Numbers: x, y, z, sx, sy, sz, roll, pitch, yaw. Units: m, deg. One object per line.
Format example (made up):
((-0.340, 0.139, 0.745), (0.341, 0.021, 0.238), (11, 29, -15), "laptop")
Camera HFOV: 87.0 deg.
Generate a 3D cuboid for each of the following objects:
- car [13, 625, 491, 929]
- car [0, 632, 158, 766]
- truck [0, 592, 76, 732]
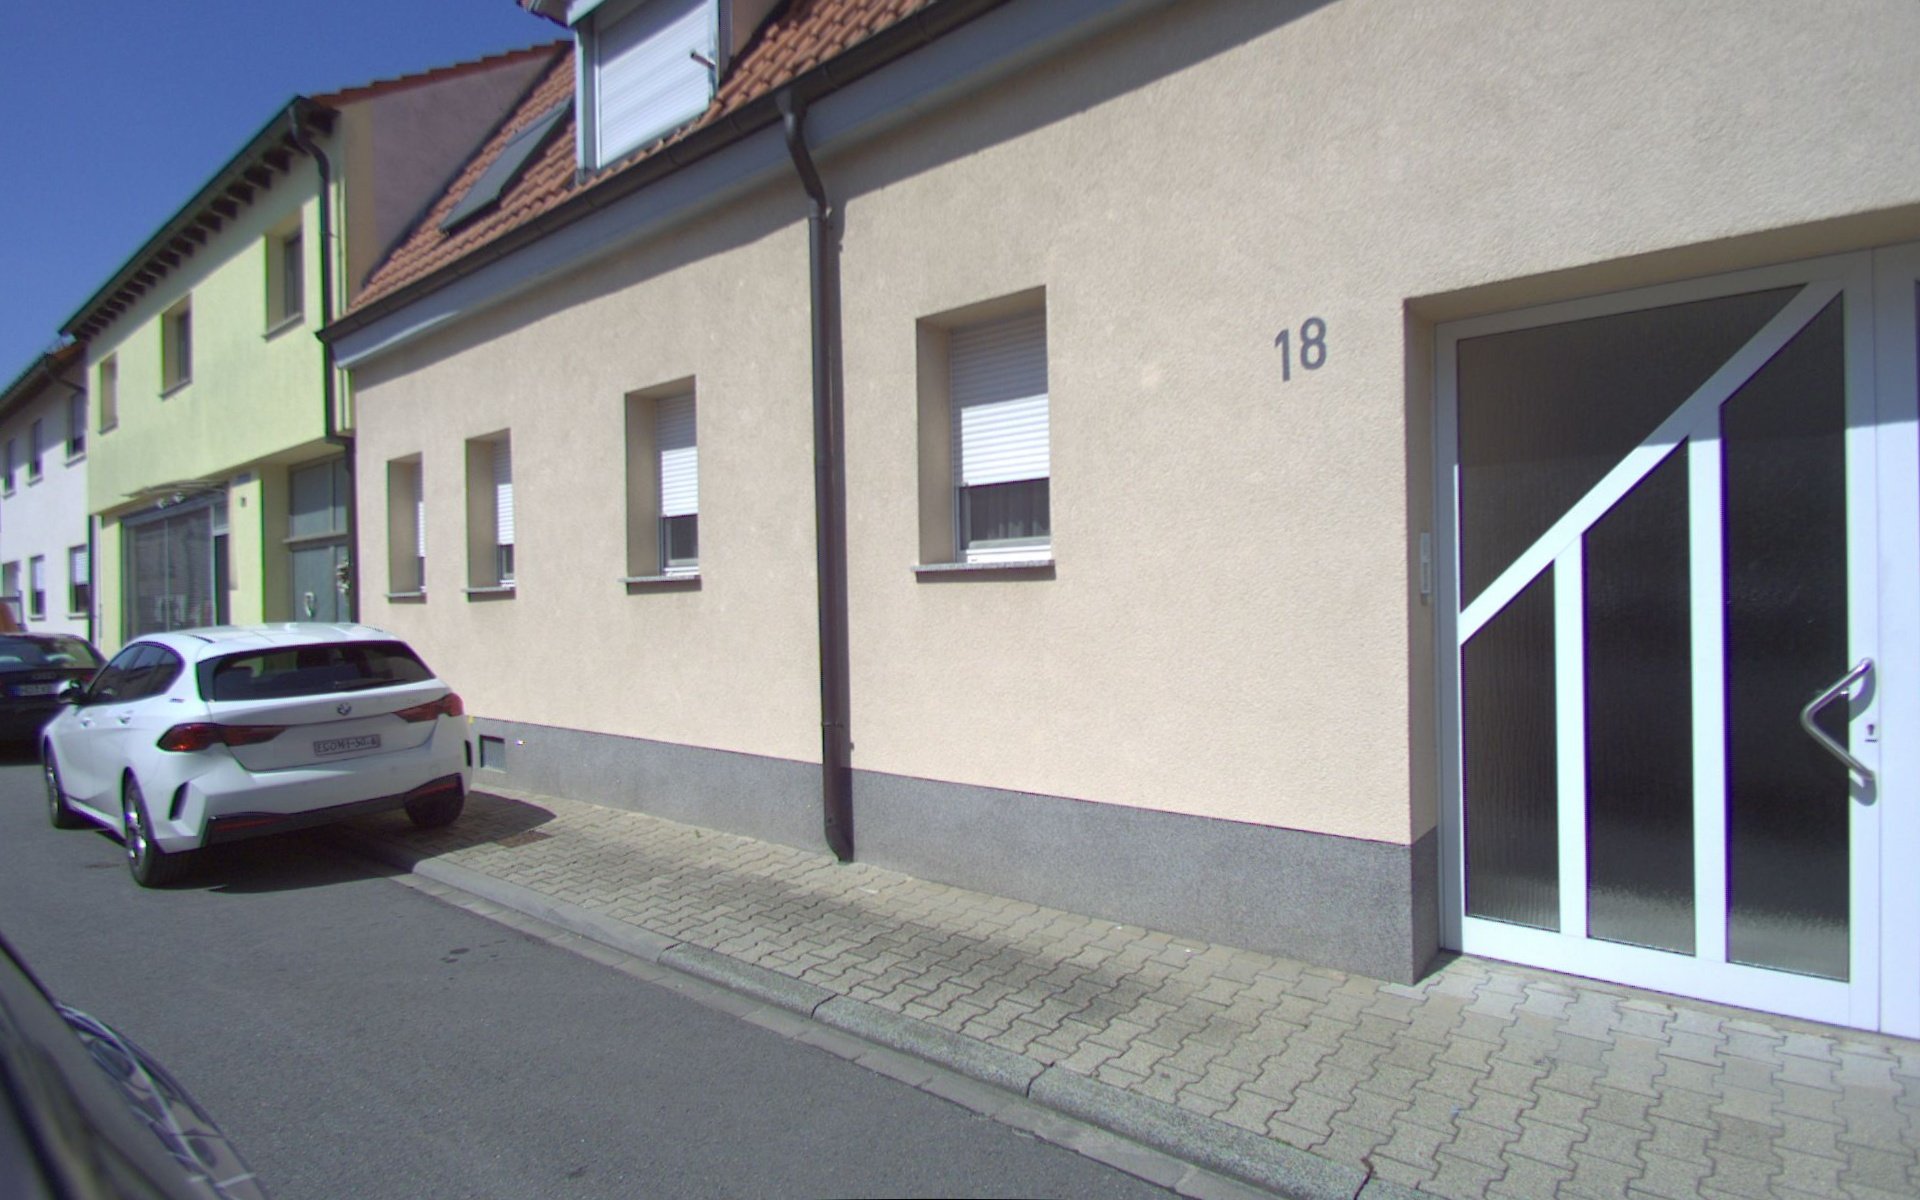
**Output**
((-5.109, 0.928, 7.072), (4.213, 1.465, 1.764), (-1, -1, 41), "car")
((-11.758, 1.104, 12.484), (4.626, 1.405, 1.903), (-1, -4, 39), "car")
((-15.999, 0.925, 16.125), (5.076, 2.029, 2.160), (-1, -1, 40), "truck")
